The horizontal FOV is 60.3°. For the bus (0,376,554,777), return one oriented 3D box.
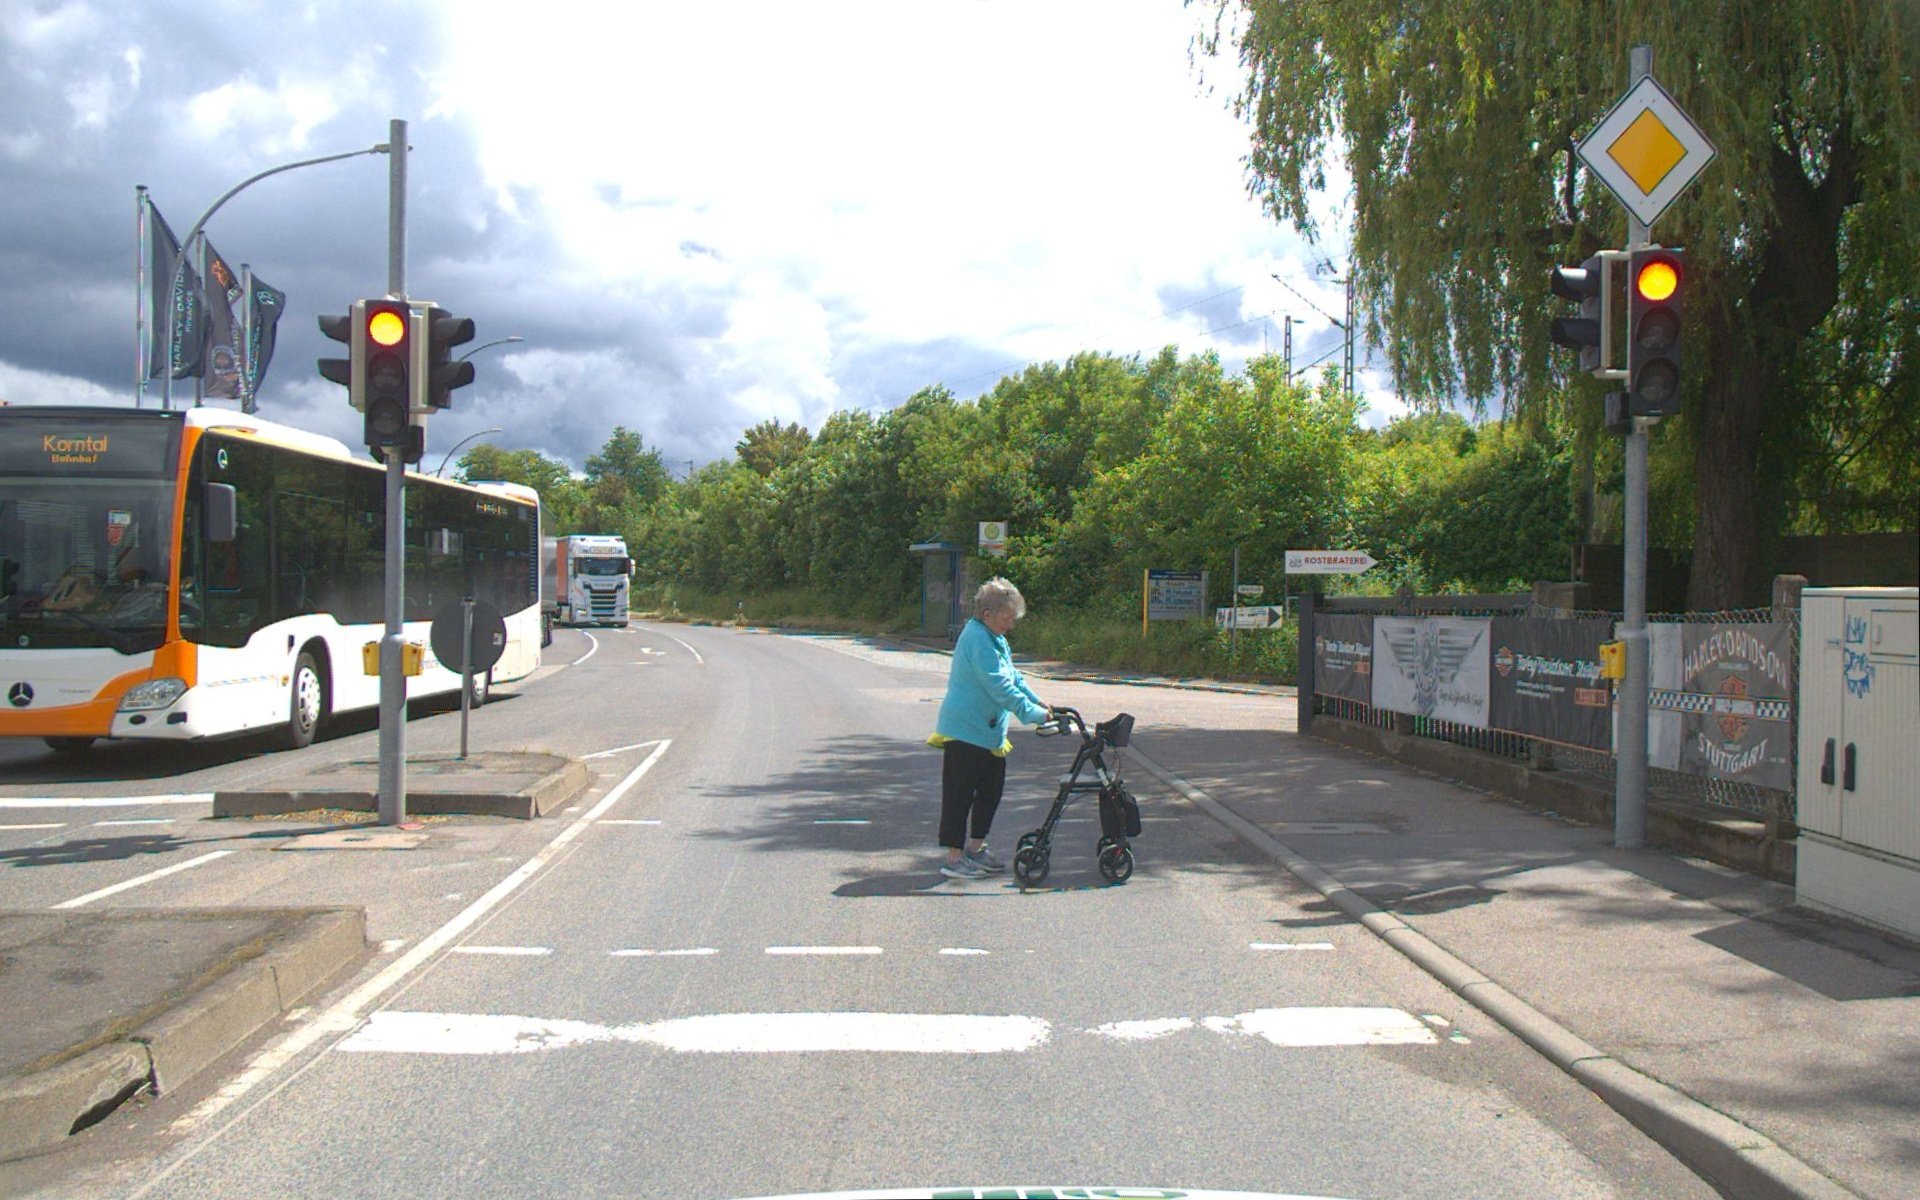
[{"bbox_3d":[-7.391,-0.158,18.857,2.663,3.084,12.263,0,0,-1],"label":"bus"}]

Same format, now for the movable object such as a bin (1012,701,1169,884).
[{"bbox_3d":[0.681,1.006,8.794,0.731,0.887,0.670,1,0,-4],"label":"movable object such as a bin"}]

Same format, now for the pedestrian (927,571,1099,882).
[{"bbox_3d":[0.264,0.647,8.768,0.822,1.570,0.733,1,-1,-4],"label":"pedestrian"}]

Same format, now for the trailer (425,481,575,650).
[{"bbox_3d":[-13.153,-0.838,48.574,2.748,4.124,15.517,1,0,-10],"label":"trailer"}]

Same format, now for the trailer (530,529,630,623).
[{"bbox_3d":[-18.961,-1.085,81.714,2.731,4.217,15.255,1,0,-21],"label":"trailer"}]

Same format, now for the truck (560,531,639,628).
[{"bbox_3d":[-16.366,-0.897,74.869,2.731,4.191,4.955,1,0,-21],"label":"truck"}]

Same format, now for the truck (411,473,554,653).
[{"bbox_3d":[-11.882,-0.844,41.686,2.748,4.124,6.484,1,0,-10],"label":"truck"}]
